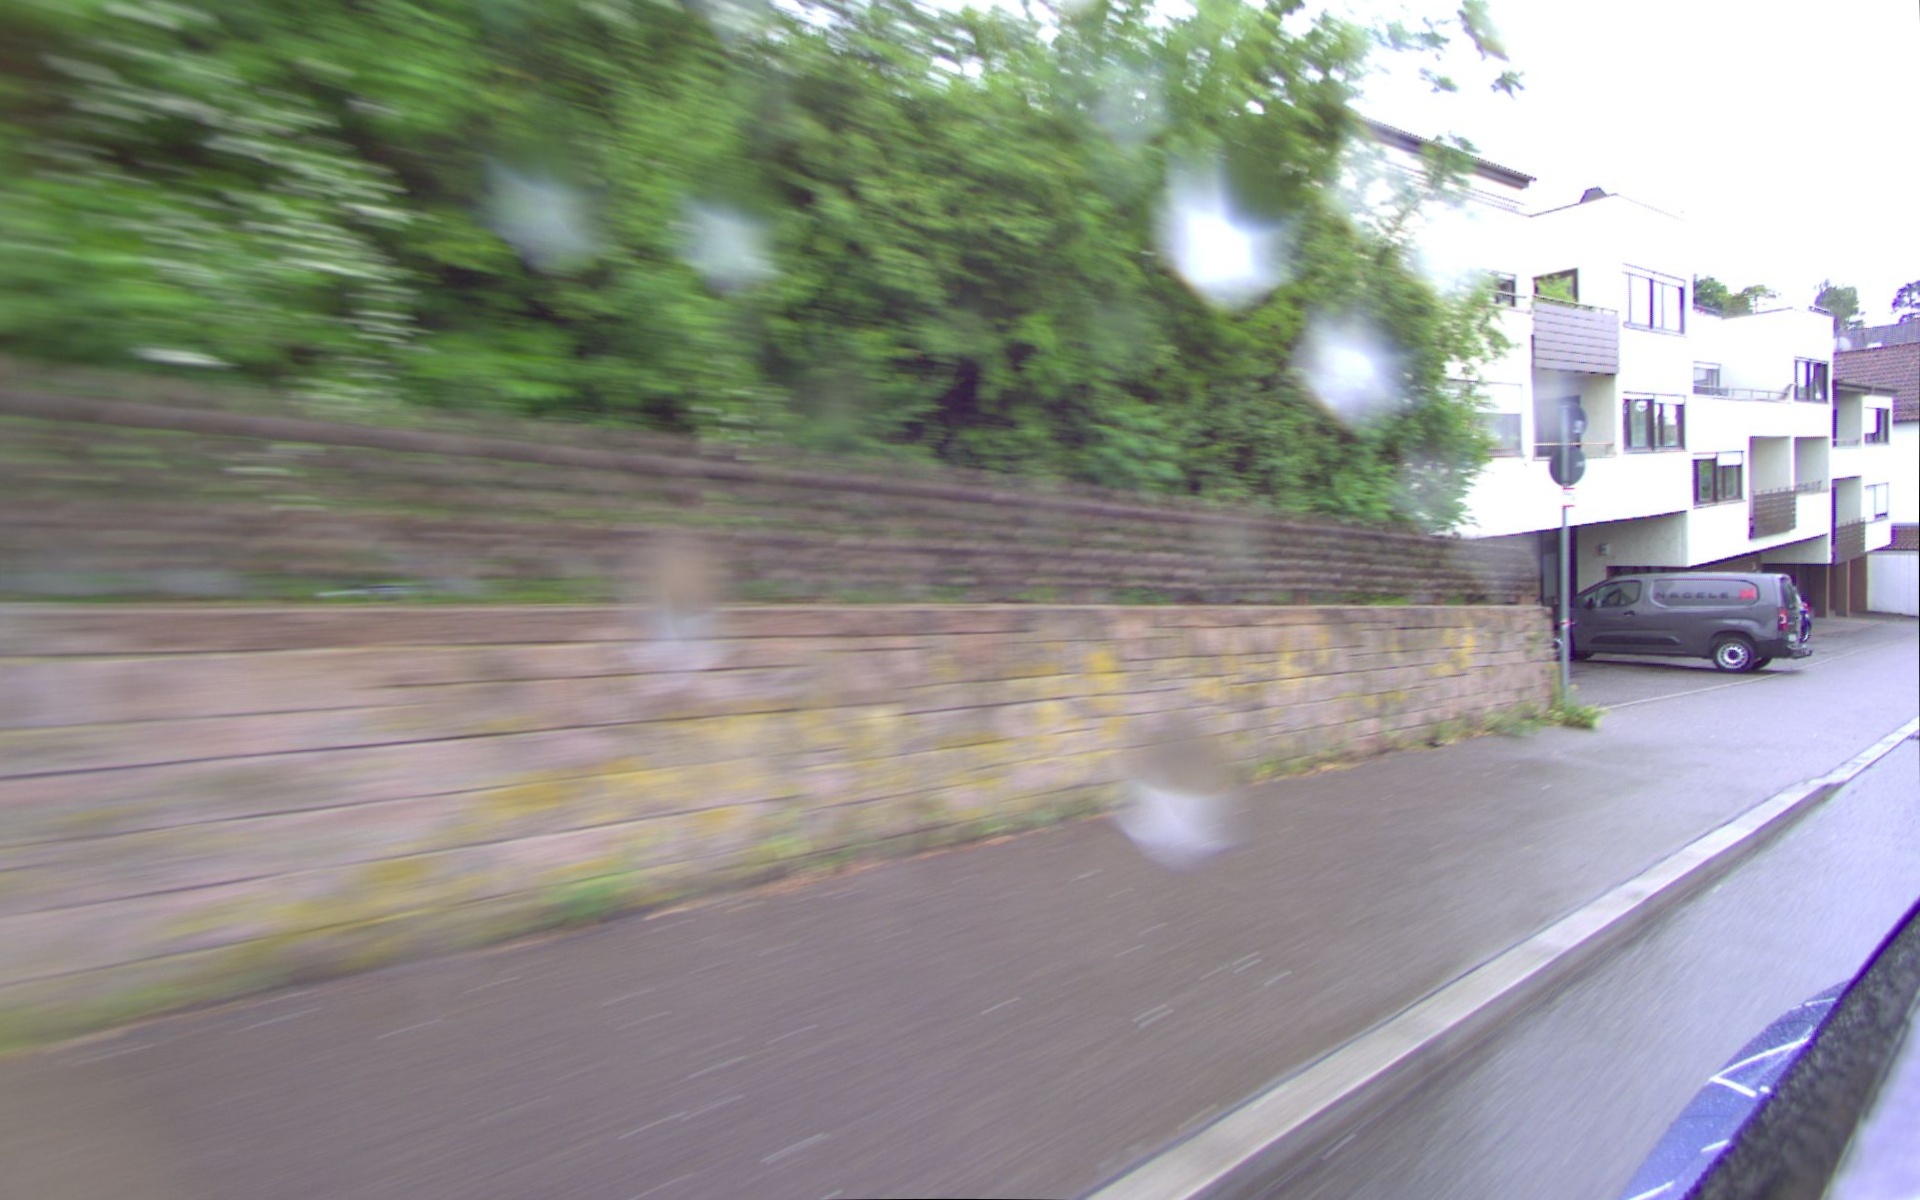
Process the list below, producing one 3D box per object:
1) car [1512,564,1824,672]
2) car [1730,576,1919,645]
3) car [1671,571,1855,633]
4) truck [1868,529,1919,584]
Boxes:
[{"bbox_3d":[13.864,0.238,20.070,1.965,1.842,4.717,0,2,-41],"label":"car"},{"bbox_3d":[21.694,0.239,25.002,3.987,1.598,1.788,-1,0,-2],"label":"car"},{"bbox_3d":[21.708,0.039,27.397,3.982,1.598,1.791,-1,0,-13],"label":"car"},{"bbox_3d":[51.991,-2.053,52.359,2.096,2.733,7.001,0,7,-26],"label":"truck"}]
